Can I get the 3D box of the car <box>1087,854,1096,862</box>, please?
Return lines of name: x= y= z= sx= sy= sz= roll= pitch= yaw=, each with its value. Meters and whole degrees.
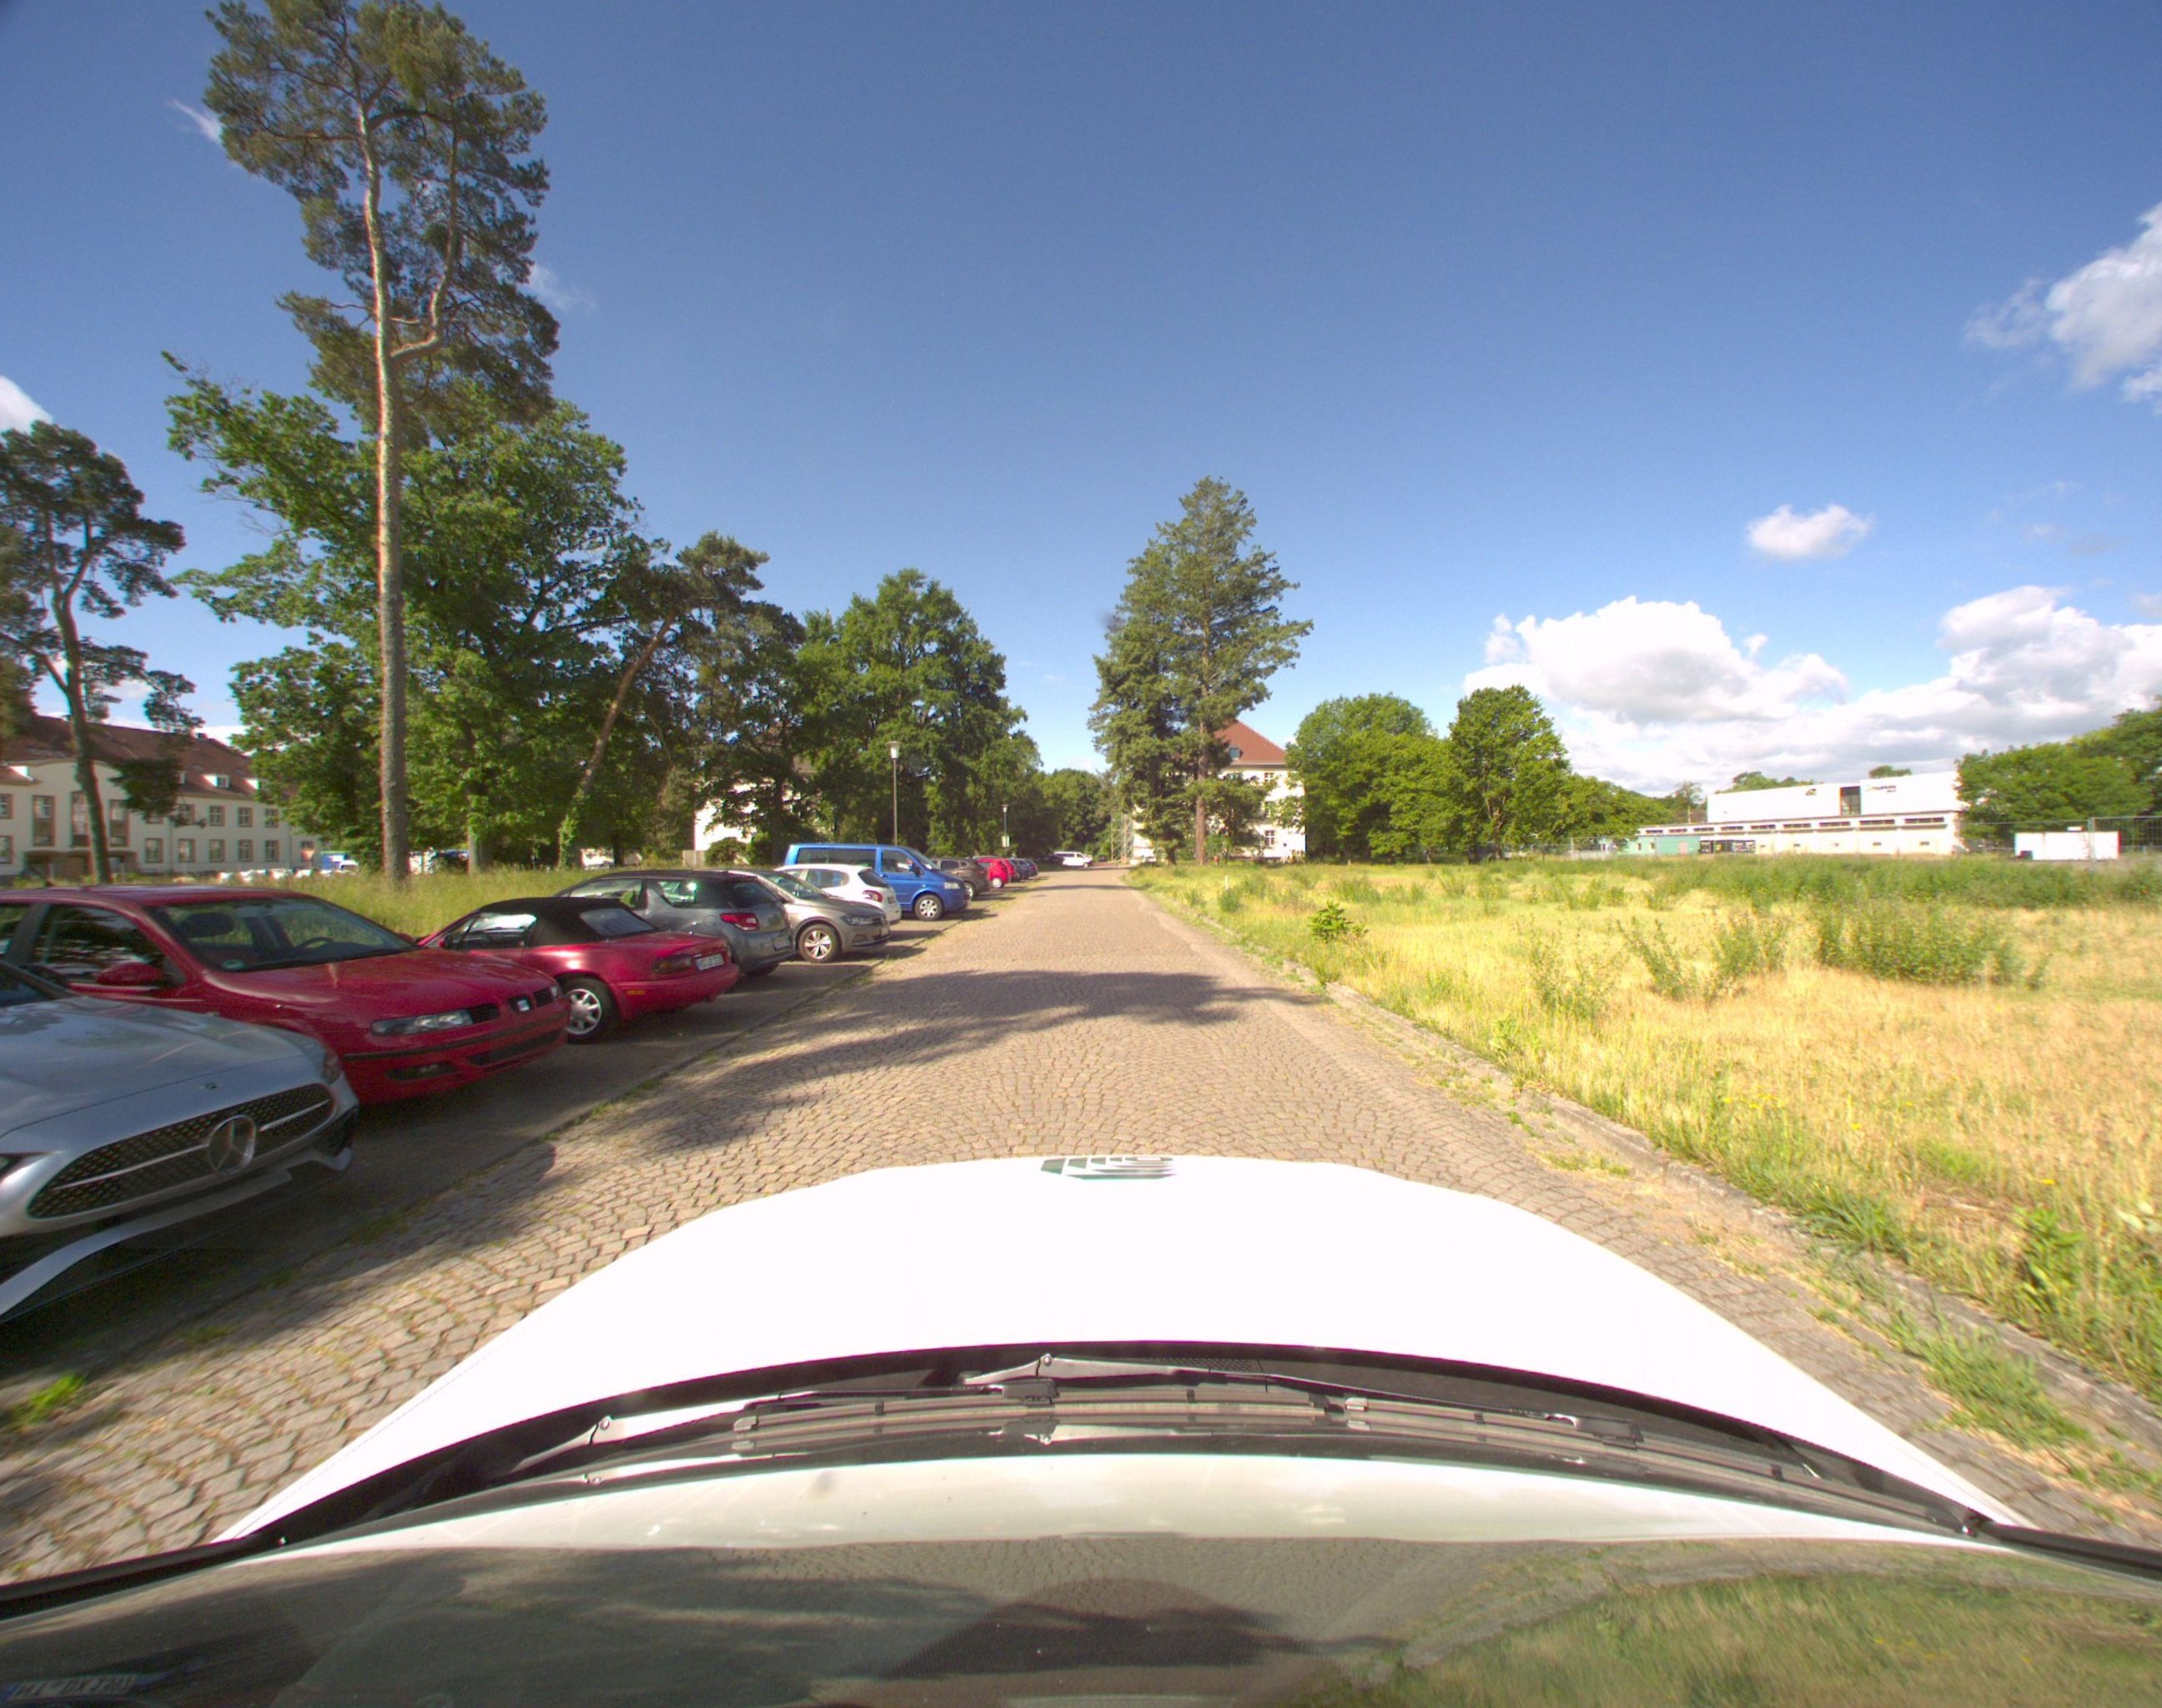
car: x=2.178 y=0.820 z=170.761 sx=1.806 sy=1.579 sz=4.134 roll=-1 pitch=0 yaw=0

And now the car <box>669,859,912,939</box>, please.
car: x=-5.675 y=0.862 z=16.307 sx=4.183 sy=1.475 sz=1.823 roll=0 pitch=0 yaw=0

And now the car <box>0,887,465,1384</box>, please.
car: x=-5.625 y=0.865 z=3.217 sx=4.848 sy=1.421 sz=1.938 roll=0 pitch=-1 yaw=0

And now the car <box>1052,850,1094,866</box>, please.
car: x=-1.025 y=0.504 z=104.645 sx=5.218 sy=2.016 sz=1.949 roll=-1 pitch=0 yaw=-1

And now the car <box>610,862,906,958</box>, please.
car: x=-5.153 y=0.864 z=13.429 sx=4.062 sy=1.425 sz=1.923 roll=0 pitch=0 yaw=1

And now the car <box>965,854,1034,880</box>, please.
car: x=-5.091 y=0.777 z=51.149 sx=4.122 sy=1.579 sz=1.884 roll=0 pitch=0 yaw=0

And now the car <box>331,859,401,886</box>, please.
car: x=-68.190 y=1.760 z=77.784 sx=1.977 sy=2.436 sz=5.277 roll=-1 pitch=0 yaw=1

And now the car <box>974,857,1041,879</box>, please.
car: x=-5.013 y=0.936 z=55.831 sx=4.342 sy=1.445 sz=1.922 roll=0 pitch=0 yaw=2

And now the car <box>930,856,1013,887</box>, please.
car: x=-5.437 y=0.852 z=40.863 sx=3.912 sy=1.461 sz=1.841 roll=0 pitch=0 yaw=-2

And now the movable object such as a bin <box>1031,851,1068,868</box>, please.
movable object such as a bin: x=-3.545 y=0.631 z=91.623 sx=3.536 sy=1.744 sz=2.034 roll=-1 pitch=0 yaw=18

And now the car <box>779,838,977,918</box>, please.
car: x=-5.257 y=0.615 z=21.599 sx=4.702 sy=1.968 sz=2.005 roll=1 pitch=0 yaw=0

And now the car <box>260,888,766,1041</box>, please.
car: x=-5.217 y=0.981 z=7.873 sx=3.617 sy=1.234 sz=1.760 roll=0 pitch=-1 yaw=1

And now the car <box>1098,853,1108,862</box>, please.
car: x=4.576 y=0.719 z=171.078 sx=1.965 sy=1.668 sz=4.085 roll=-1 pitch=0 yaw=0

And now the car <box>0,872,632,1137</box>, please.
car: x=-6.045 y=0.870 z=5.556 sx=4.848 sy=1.421 sz=1.938 roll=0 pitch=0 yaw=0

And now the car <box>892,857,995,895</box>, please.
car: x=-5.560 y=0.862 z=33.269 sx=3.912 sy=1.449 sz=1.865 roll=1 pitch=0 yaw=-2

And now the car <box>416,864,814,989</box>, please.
car: x=-5.810 y=0.871 z=10.538 sx=4.062 sy=1.452 sz=1.822 roll=0 pitch=-1 yaw=1

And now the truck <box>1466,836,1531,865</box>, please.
truck: x=36.827 y=-0.246 z=72.064 sx=2.226 sy=2.424 sz=6.884 roll=1 pitch=0 yaw=-1

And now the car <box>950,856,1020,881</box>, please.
car: x=-5.686 y=0.854 z=48.748 sx=3.909 sy=1.433 sz=1.842 roll=0 pitch=0 yaw=1

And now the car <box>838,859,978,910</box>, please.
car: x=-5.071 y=0.884 z=24.208 sx=3.807 sy=1.440 sz=1.681 roll=1 pitch=0 yaw=-3

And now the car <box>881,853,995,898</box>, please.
car: x=-5.283 y=0.796 z=30.540 sx=3.942 sy=1.567 sz=1.973 roll=1 pitch=1 yaw=-2
